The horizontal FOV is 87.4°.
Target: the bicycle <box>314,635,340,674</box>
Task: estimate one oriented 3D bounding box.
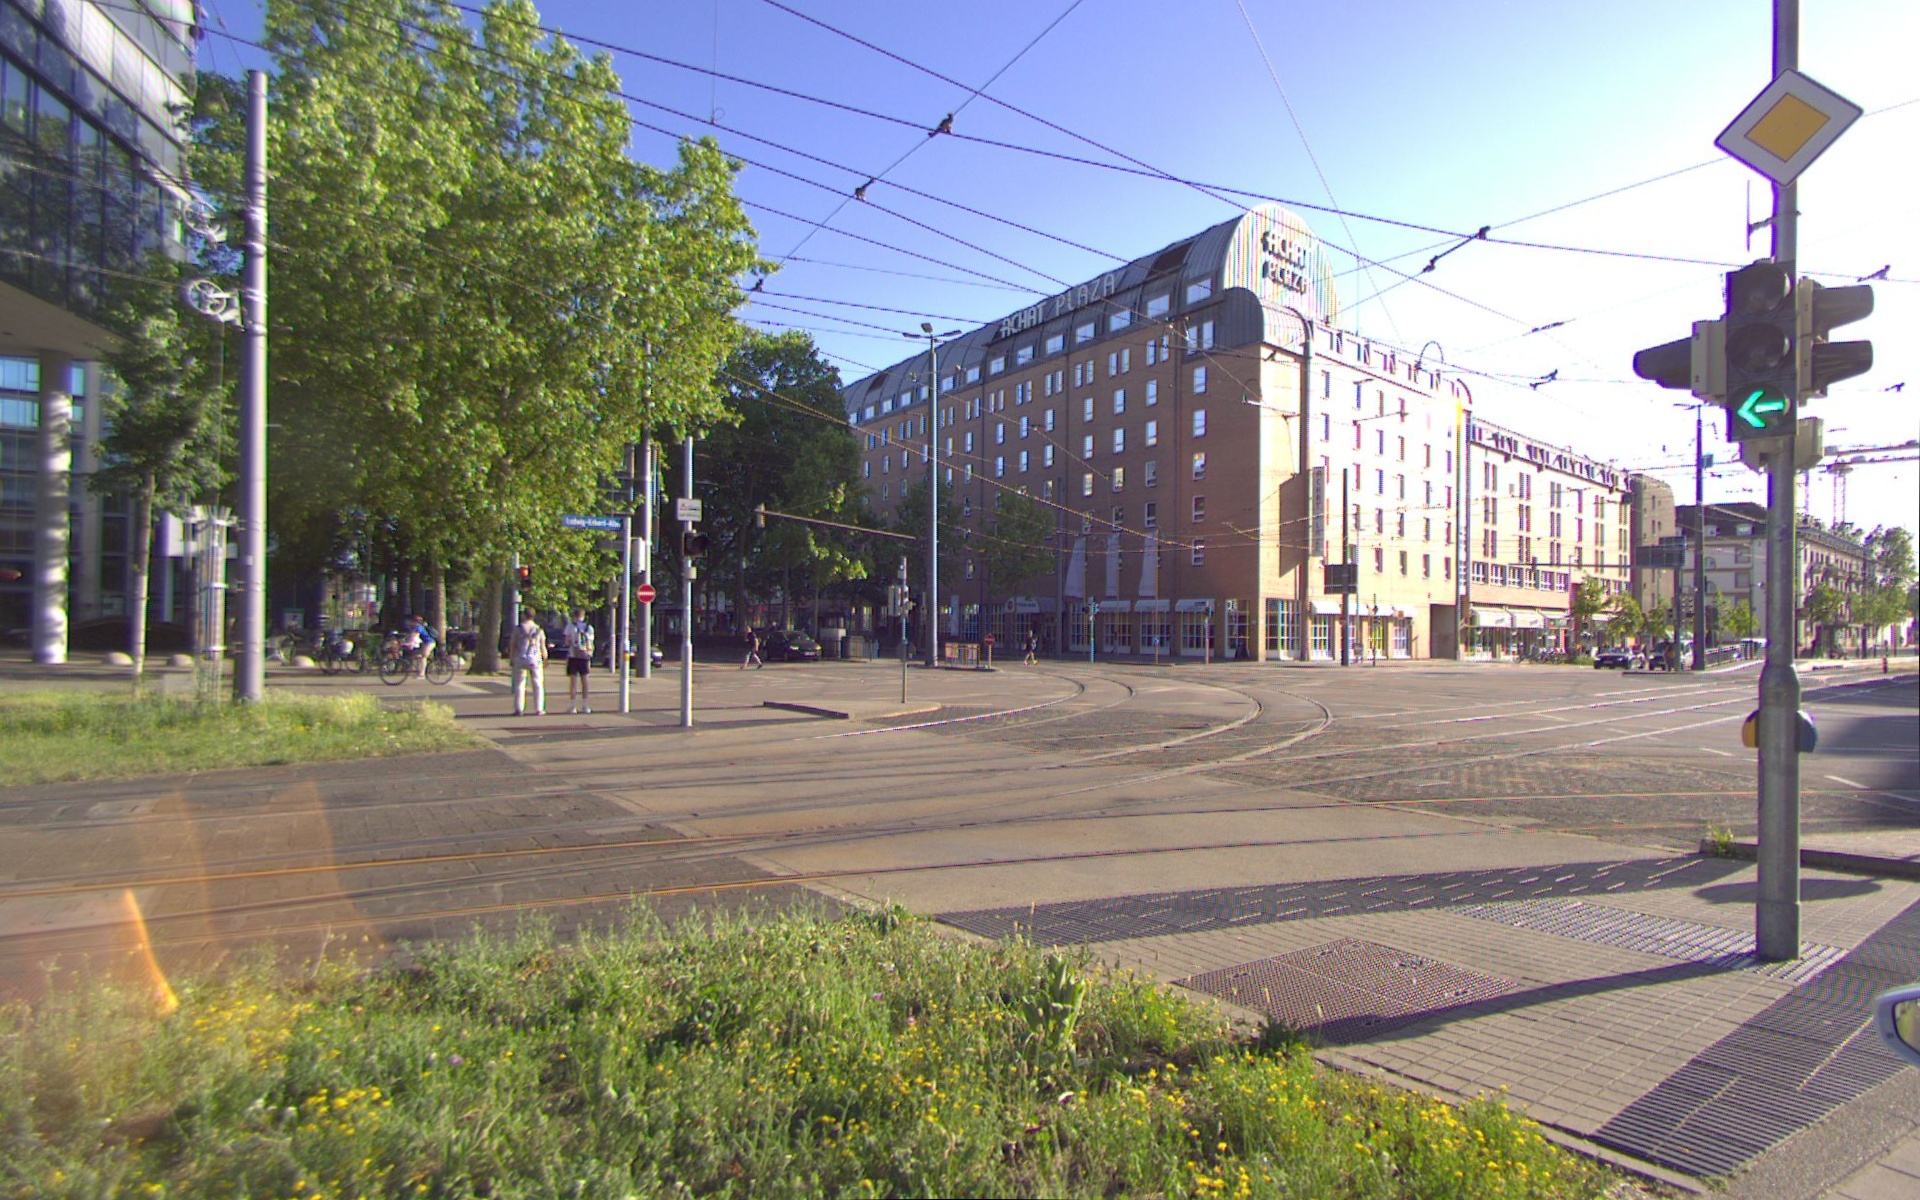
[{"bbox_3d":[-19.925,1.694,31.650,0.592,1.143,2.348,1,-1,-30],"label":"bicycle"}]

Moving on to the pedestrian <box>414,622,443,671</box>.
[{"bbox_3d":[-18.789,1.637,35.538,0.819,1.702,0.712,0,-1,-23],"label":"pedestrian"}]

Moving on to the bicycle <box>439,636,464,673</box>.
[{"bbox_3d":[-16.867,1.784,33.278,0.592,1.143,2.348,1,-1,-30],"label":"bicycle"}]

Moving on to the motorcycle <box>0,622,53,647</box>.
[{"bbox_3d":[-40.310,1.465,42.781,2.308,1.072,0.828,1,-1,-22],"label":"motorcycle"}]

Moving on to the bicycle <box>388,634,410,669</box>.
[{"bbox_3d":[-19.056,1.723,34.110,0.592,1.143,2.348,1,-1,-30],"label":"bicycle"}]

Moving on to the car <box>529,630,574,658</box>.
[{"bbox_3d":[-21.810,2.313,53.541,1.652,1.425,3.968,2,-3,-30],"label":"car"}]

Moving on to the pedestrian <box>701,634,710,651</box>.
[{"bbox_3d":[-17.261,2.872,68.091,0.583,1.179,0.742,2,-1,-17],"label":"pedestrian"}]

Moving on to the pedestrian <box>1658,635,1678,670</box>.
[{"bbox_3d":[35.895,2.655,50.946,0.589,1.750,0.715,2,-2,-39],"label":"pedestrian"}]

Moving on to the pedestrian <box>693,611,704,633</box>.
[{"bbox_3d":[-19.280,1.586,74.057,0.476,1.594,0.672,2,0,11],"label":"pedestrian"}]

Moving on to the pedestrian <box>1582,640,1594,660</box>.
[{"bbox_3d":[57.929,4.626,92.662,0.560,1.787,0.711,2,-3,-38],"label":"pedestrian"}]

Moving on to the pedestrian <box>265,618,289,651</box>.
[{"bbox_3d":[-34.704,1.755,51.019,0.685,1.644,0.734,1,-1,1],"label":"pedestrian"}]

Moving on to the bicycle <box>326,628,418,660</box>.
[{"bbox_3d":[-25.907,1.947,44.326,1.021,1.371,3.342,-1,-2,44],"label":"bicycle"}]

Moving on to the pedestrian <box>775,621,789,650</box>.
[{"bbox_3d":[-11.355,2.245,64.037,0.630,1.853,0.737,2,-2,-37],"label":"pedestrian"}]

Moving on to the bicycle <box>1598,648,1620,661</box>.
[{"bbox_3d":[51.074,4.271,79.025,2.490,1.004,0.802,2,-2,-42],"label":"bicycle"}]

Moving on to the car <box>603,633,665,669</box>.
[{"bbox_3d":[-13.789,2.118,42.344,1.652,1.425,3.968,2,-3,-30],"label":"car"}]

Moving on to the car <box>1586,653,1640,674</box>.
[{"bbox_3d":[40.573,3.932,62.341,4.199,1.285,1.822,3,-4,-43],"label":"car"}]

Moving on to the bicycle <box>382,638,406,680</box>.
[{"bbox_3d":[-16.593,1.693,29.453,0.592,1.143,2.349,1,-1,-29],"label":"bicycle"}]

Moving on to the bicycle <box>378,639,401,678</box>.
[{"bbox_3d":[-18.104,1.828,31.874,0.592,1.143,2.348,1,-1,-30],"label":"bicycle"}]

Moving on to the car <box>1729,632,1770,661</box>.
[{"bbox_3d":[85.947,4.985,109.299,8.412,3.038,2.354,1,-2,-44],"label":"car"}]

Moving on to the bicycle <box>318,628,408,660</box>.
[{"bbox_3d":[-26.959,1.995,45.395,1.021,1.371,3.342,-1,-2,44],"label":"bicycle"}]

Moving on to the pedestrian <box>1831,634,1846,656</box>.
[{"bbox_3d":[70.641,3.598,80.780,0.850,1.692,0.734,0,0,39],"label":"pedestrian"}]

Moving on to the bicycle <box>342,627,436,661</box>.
[{"bbox_3d":[-24.411,1.885,42.999,1.021,1.371,3.342,-1,-2,44],"label":"bicycle"}]

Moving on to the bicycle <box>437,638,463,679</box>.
[{"bbox_3d":[-15.385,1.739,30.288,0.592,1.143,2.349,1,-1,-29],"label":"bicycle"}]

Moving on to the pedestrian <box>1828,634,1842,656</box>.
[{"bbox_3d":[70.930,3.627,81.438,0.850,1.692,0.781,0,0,39],"label":"pedestrian"}]

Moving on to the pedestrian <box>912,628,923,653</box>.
[{"bbox_3d":[-2.969,2.790,69.928,0.599,1.702,0.482,0,-1,-33],"label":"pedestrian"}]

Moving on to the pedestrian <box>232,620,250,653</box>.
[{"bbox_3d":[-38.325,1.950,53.538,0.691,1.737,0.727,2,-1,-33],"label":"pedestrian"}]

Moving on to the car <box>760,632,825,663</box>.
[{"bbox_3d":[-8.058,2.245,48.146,1.653,1.433,3.965,2,-3,-32],"label":"car"}]

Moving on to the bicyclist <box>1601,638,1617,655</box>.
[{"bbox_3d":[51.053,3.652,79.015,0.919,1.395,0.802,2,-2,-42],"label":"bicyclist"}]

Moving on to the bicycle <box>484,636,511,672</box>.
[{"bbox_3d":[-15.568,1.788,33.806,0.592,1.143,2.348,1,-1,-30],"label":"bicycle"}]

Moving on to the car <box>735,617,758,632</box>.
[{"bbox_3d":[-26.200,3.004,123.369,1.658,1.674,3.659,2,-2,-31],"label":"car"}]

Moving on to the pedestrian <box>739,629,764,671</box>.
[{"bbox_3d":[-8.631,2.053,41.505,0.821,1.702,0.711,0,-1,-29],"label":"pedestrian"}]

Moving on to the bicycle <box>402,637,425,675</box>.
[{"bbox_3d":[-17.505,1.779,32.157,0.592,1.143,2.348,1,-1,-30],"label":"bicycle"}]

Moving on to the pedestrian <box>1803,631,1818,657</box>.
[{"bbox_3d":[64.089,3.314,75.689,0.850,1.911,0.734,0,0,39],"label":"pedestrian"}]

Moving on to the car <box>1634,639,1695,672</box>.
[{"bbox_3d":[41.787,3.279,59.577,4.071,1.859,1.825,2,-4,-38],"label":"car"}]

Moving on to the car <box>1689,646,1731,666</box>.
[{"bbox_3d":[57.394,4.260,76.838,4.267,1.467,1.823,3,-4,-42],"label":"car"}]

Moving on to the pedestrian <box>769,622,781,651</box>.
[{"bbox_3d":[-11.834,2.346,64.236,0.581,1.853,0.745,1,-1,-1],"label":"pedestrian"}]

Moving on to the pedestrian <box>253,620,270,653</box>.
[{"bbox_3d":[-37.619,1.977,54.084,0.691,1.737,0.727,2,-1,-33],"label":"pedestrian"}]

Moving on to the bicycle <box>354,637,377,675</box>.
[{"bbox_3d":[-18.981,1.763,32.086,0.592,1.143,2.348,1,-1,-30],"label":"bicycle"}]

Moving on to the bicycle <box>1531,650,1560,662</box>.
[{"bbox_3d":[46.896,4.478,80.443,0.477,0.933,2.024,1,-2,-30],"label":"bicycle"}]

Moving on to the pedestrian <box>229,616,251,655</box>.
[{"bbox_3d":[-30.887,1.528,43.083,0.691,1.674,0.700,2,-1,-32],"label":"pedestrian"}]

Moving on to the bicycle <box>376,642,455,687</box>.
[{"bbox_3d":[-14.563,1.713,26.886,1.830,1.152,0.688,2,-2,-31],"label":"bicycle"}]

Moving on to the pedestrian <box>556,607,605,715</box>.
[{"bbox_3d":[-6.838,1.079,18.108,0.666,1.894,0.727,2,-2,-33],"label":"pedestrian"}]

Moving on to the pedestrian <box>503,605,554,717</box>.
[{"bbox_3d":[-7.508,1.052,17.464,0.691,1.894,0.728,1,-2,-31],"label":"pedestrian"}]

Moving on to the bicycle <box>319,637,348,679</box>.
[{"bbox_3d":[-18.139,1.662,29.114,0.592,1.143,2.349,1,-1,-29],"label":"bicycle"}]

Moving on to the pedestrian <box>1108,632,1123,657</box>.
[{"bbox_3d":[10.776,3.059,69.637,0.734,1.688,0.745,1,-1,-38],"label":"pedestrian"}]

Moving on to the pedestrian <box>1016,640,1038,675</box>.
[{"bbox_3d":[3.357,2.891,50.463,0.824,1.702,0.708,0,-1,-39],"label":"pedestrian"}]

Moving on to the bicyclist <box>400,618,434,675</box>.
[{"bbox_3d":[-14.549,1.235,26.901,0.745,1.480,0.688,1,-2,-30],"label":"bicyclist"}]
